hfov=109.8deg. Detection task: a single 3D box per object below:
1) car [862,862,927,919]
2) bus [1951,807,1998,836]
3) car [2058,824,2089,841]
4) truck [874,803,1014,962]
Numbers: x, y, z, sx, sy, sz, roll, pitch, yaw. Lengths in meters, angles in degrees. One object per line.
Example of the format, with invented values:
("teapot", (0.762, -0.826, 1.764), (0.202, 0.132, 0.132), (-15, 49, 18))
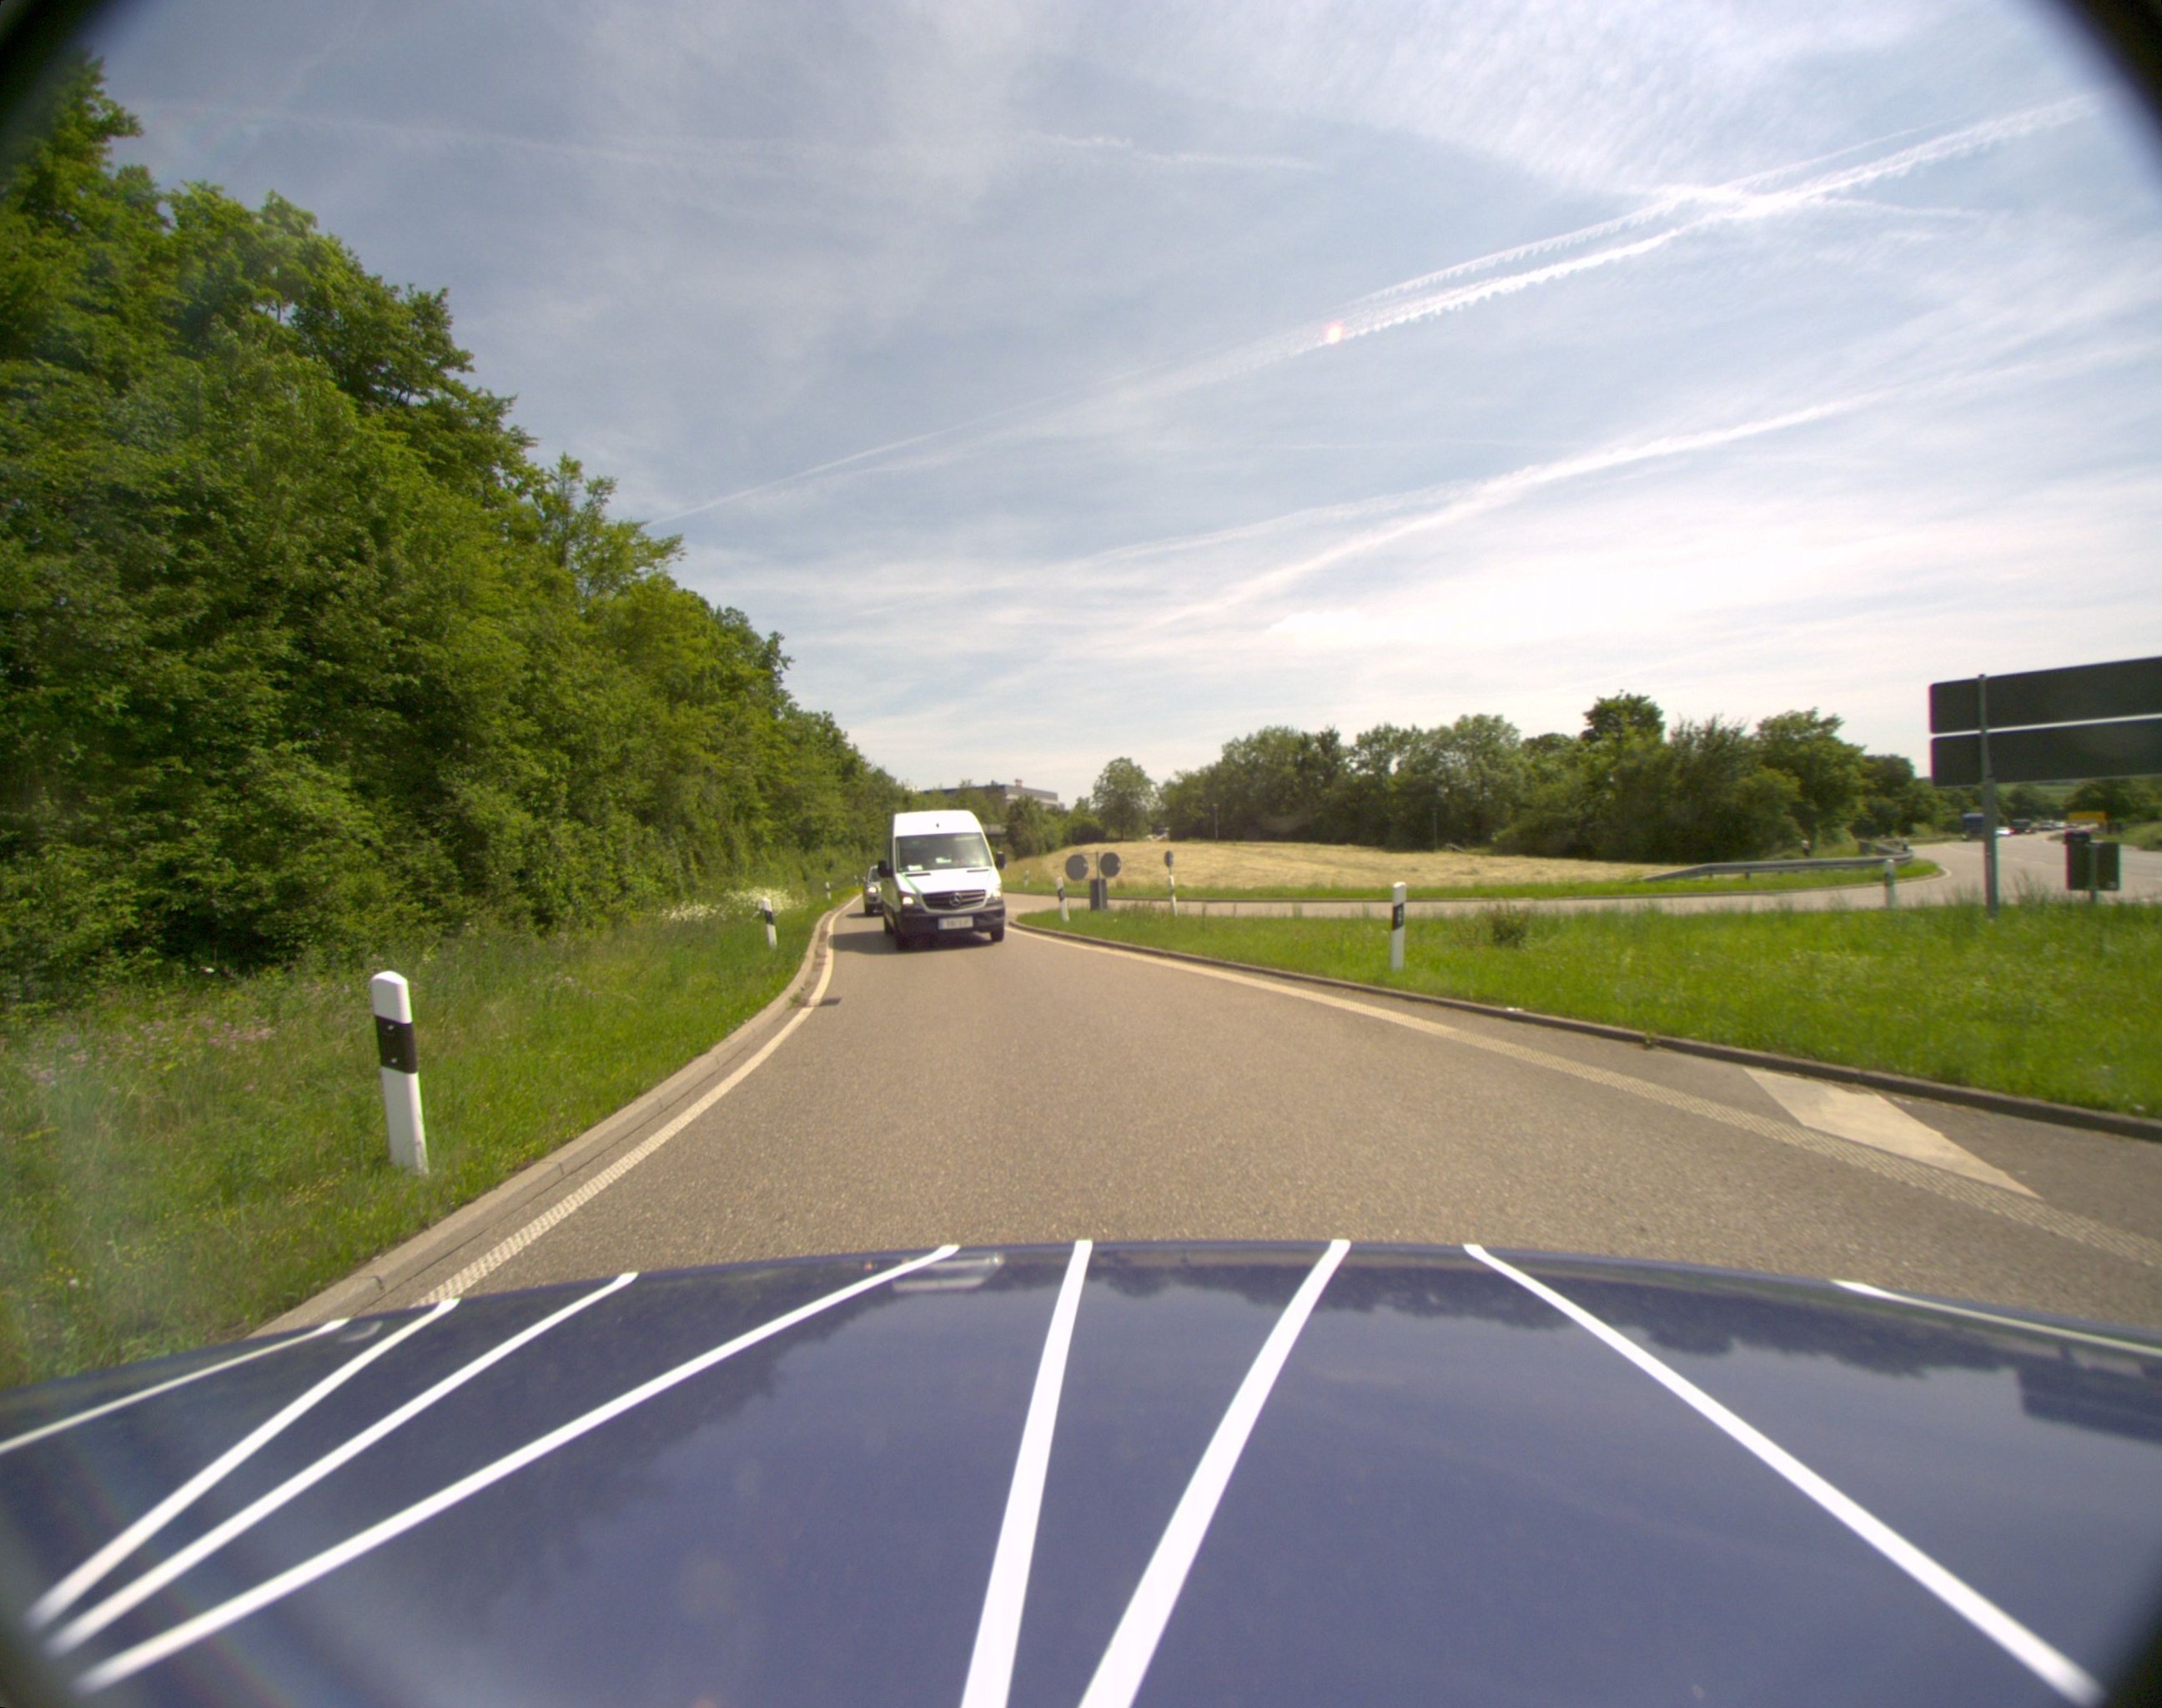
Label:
("car", (-6.398, 1.181, 25.769), (1.851, 1.698, 4.083), (-3, 0, -17))
("bus", (129.365, -4.691, 109.987), (10.530, 4.046, 3.344), (-2, 1, -34))
("car", (104.219, -2.277, 79.824), (4.114, 1.530, 1.751), (-3, 0, -40))
("truck", (-3.075, 0.505, 15.730), (2.001, 2.571, 5.879), (-4, 0, -17))
